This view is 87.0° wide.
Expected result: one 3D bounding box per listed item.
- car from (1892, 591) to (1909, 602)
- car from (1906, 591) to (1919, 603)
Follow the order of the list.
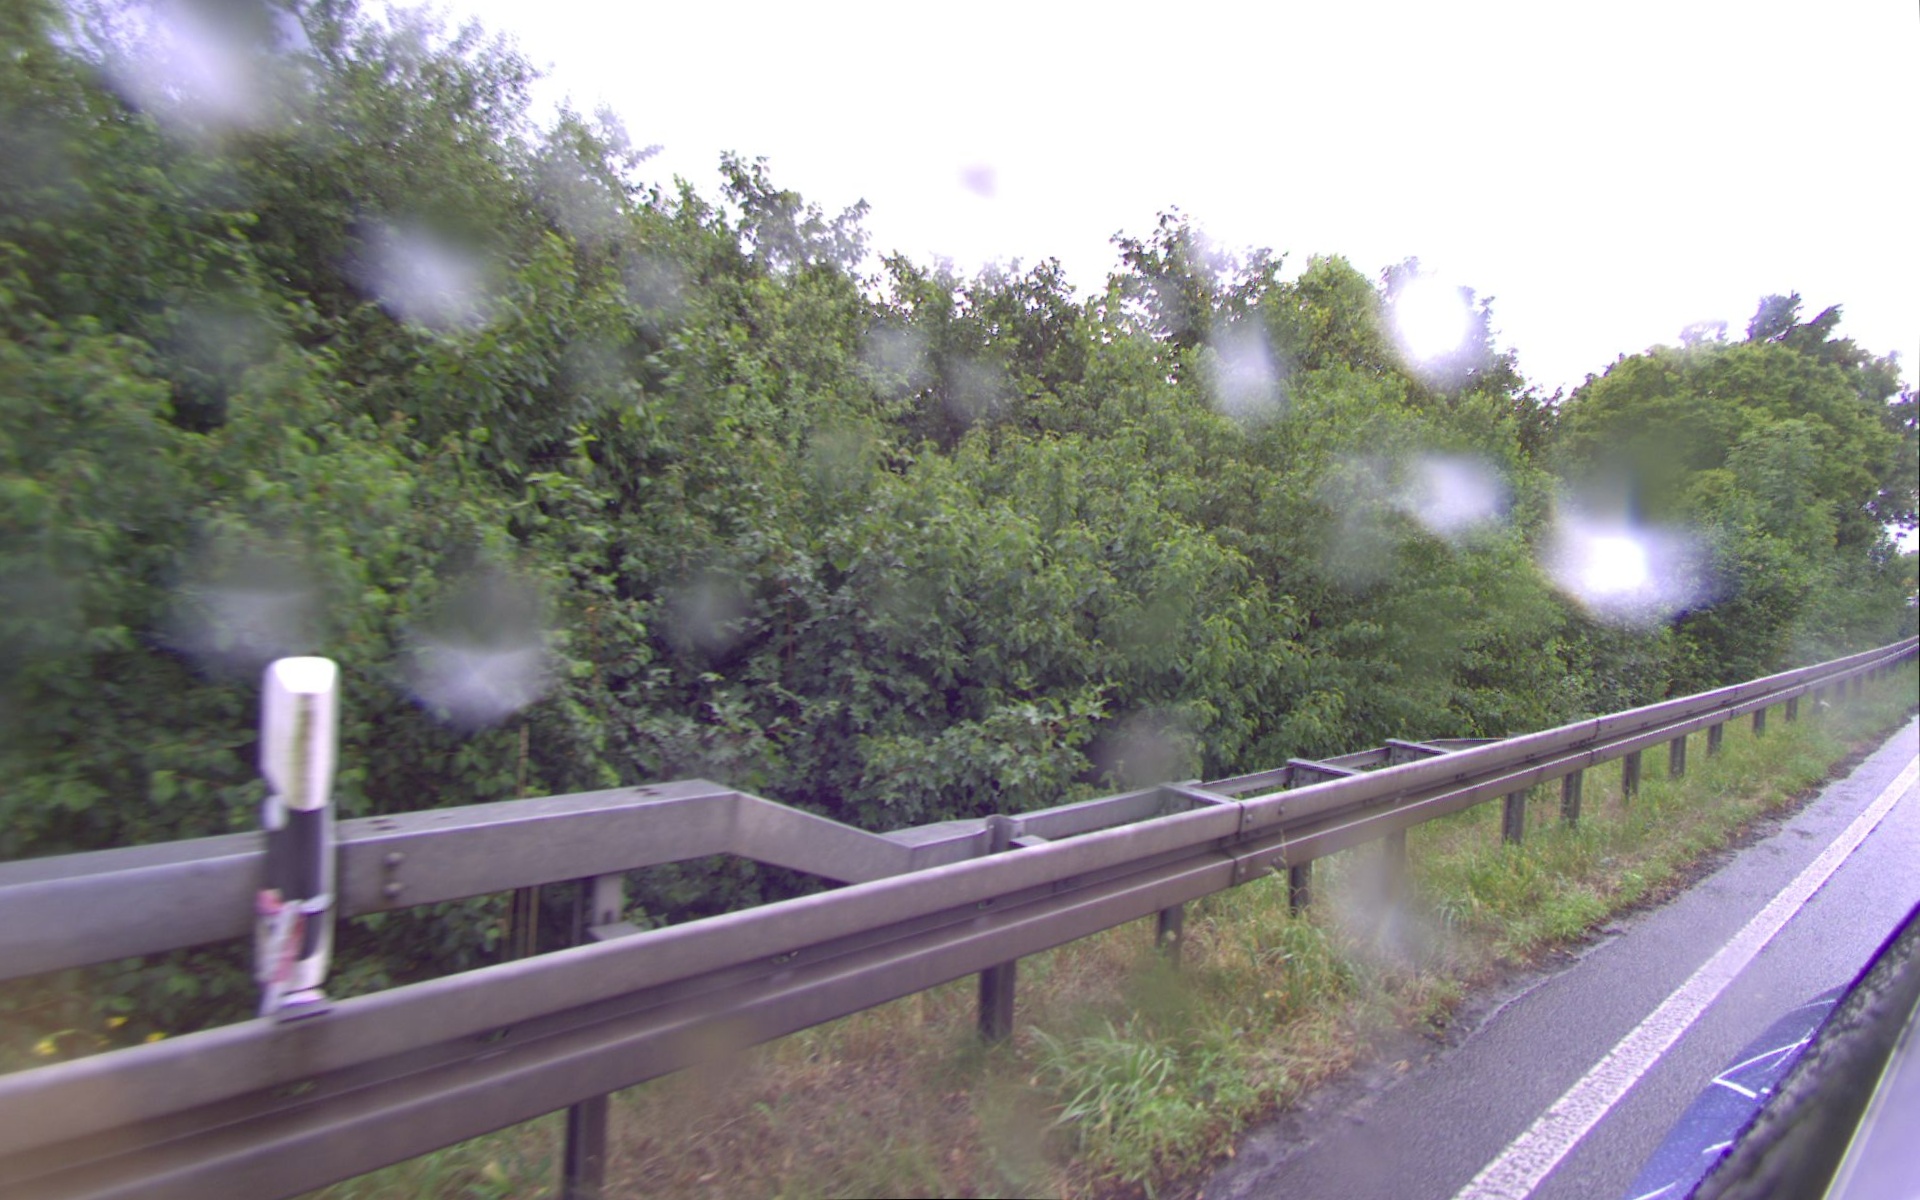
[{"bbox_3d":[133.355,-0.502,143.527,1.527,1.486,3.032,0,0,39],"label":"car"},{"bbox_3d":[123.381,-0.376,130.622,1.527,1.486,3.032,0,0,39],"label":"car"}]
